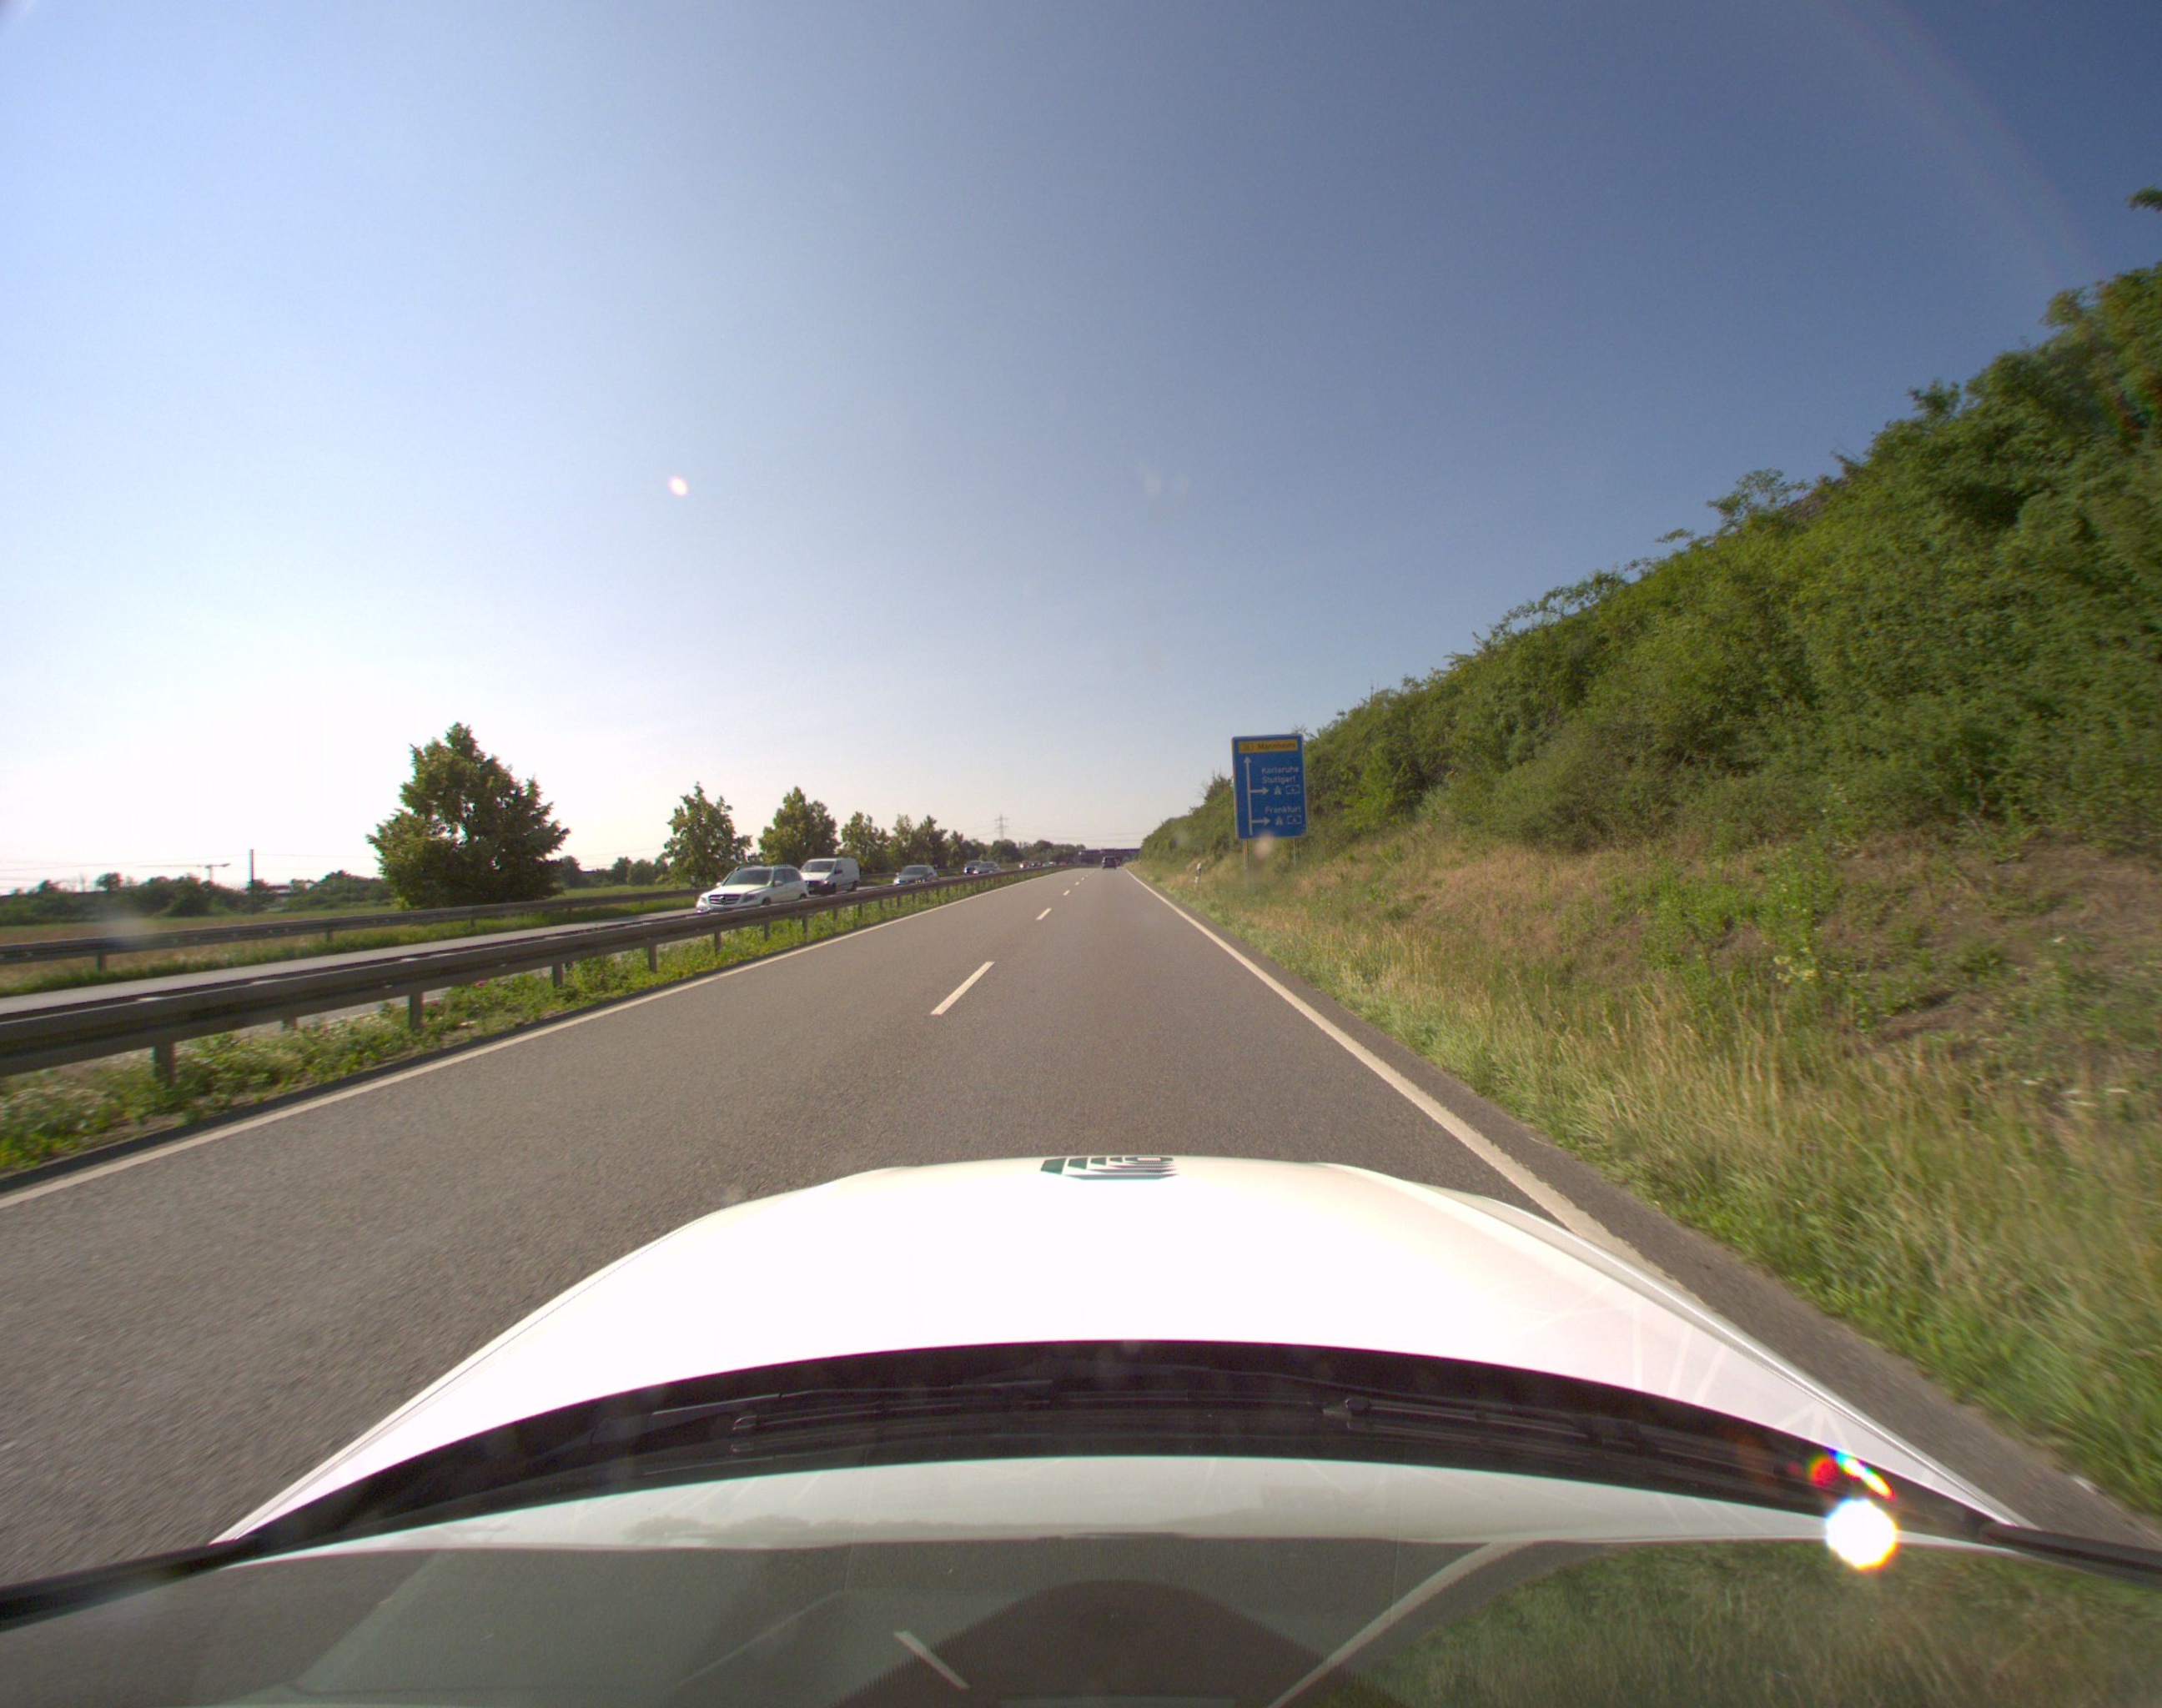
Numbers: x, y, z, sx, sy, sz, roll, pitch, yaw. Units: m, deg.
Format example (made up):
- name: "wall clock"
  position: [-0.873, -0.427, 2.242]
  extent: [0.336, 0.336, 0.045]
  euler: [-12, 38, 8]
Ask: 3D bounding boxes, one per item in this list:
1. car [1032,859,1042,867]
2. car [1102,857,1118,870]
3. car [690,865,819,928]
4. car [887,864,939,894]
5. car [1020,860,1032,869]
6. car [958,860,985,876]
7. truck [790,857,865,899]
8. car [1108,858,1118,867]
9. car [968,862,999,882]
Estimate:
- name: "car"
  position: [-9.521, 1.996, 177.234]
  extent: [1.719, 1.595, 4.223]
  euler: [-1, -1, 2]
- name: "car"
  position: [3.737, 1.270, 105.897]
  extent: [1.841, 1.644, 4.005]
  euler: [-2, -1, 5]
- name: "car"
  position: [-9.714, 1.189, 24.686]
  extent: [1.832, 1.665, 4.724]
  euler: [-1, 0, 2]
- name: "car"
  position: [-9.067, 1.339, 44.223]
  extent: [1.832, 1.446, 4.039]
  euler: [0, 0, 2]
- name: "car"
  position: [-10.316, 1.969, 153.169]
  extent: [1.836, 1.593, 4.776]
  euler: [-1, -1, 2]
- name: "car"
  position: [-11.170, 1.387, 83.387]
  extent: [1.805, 1.542, 4.457]
  euler: [-2, -1, 3]
- name: "truck"
  position: [-12.605, 1.141, 40.808]
  extent: [1.915, 1.840, 5.294]
  euler: [-1, 0, 2]
- name: "car"
  position: [6.186, 1.652, 157.633]
  extent: [1.788, 1.665, 4.005]
  euler: [0, 0, 4]
- name: "car"
  position: [-8.323, 1.496, 69.631]
  extent: [1.805, 1.542, 4.457]
  euler: [-2, -1, 3]
